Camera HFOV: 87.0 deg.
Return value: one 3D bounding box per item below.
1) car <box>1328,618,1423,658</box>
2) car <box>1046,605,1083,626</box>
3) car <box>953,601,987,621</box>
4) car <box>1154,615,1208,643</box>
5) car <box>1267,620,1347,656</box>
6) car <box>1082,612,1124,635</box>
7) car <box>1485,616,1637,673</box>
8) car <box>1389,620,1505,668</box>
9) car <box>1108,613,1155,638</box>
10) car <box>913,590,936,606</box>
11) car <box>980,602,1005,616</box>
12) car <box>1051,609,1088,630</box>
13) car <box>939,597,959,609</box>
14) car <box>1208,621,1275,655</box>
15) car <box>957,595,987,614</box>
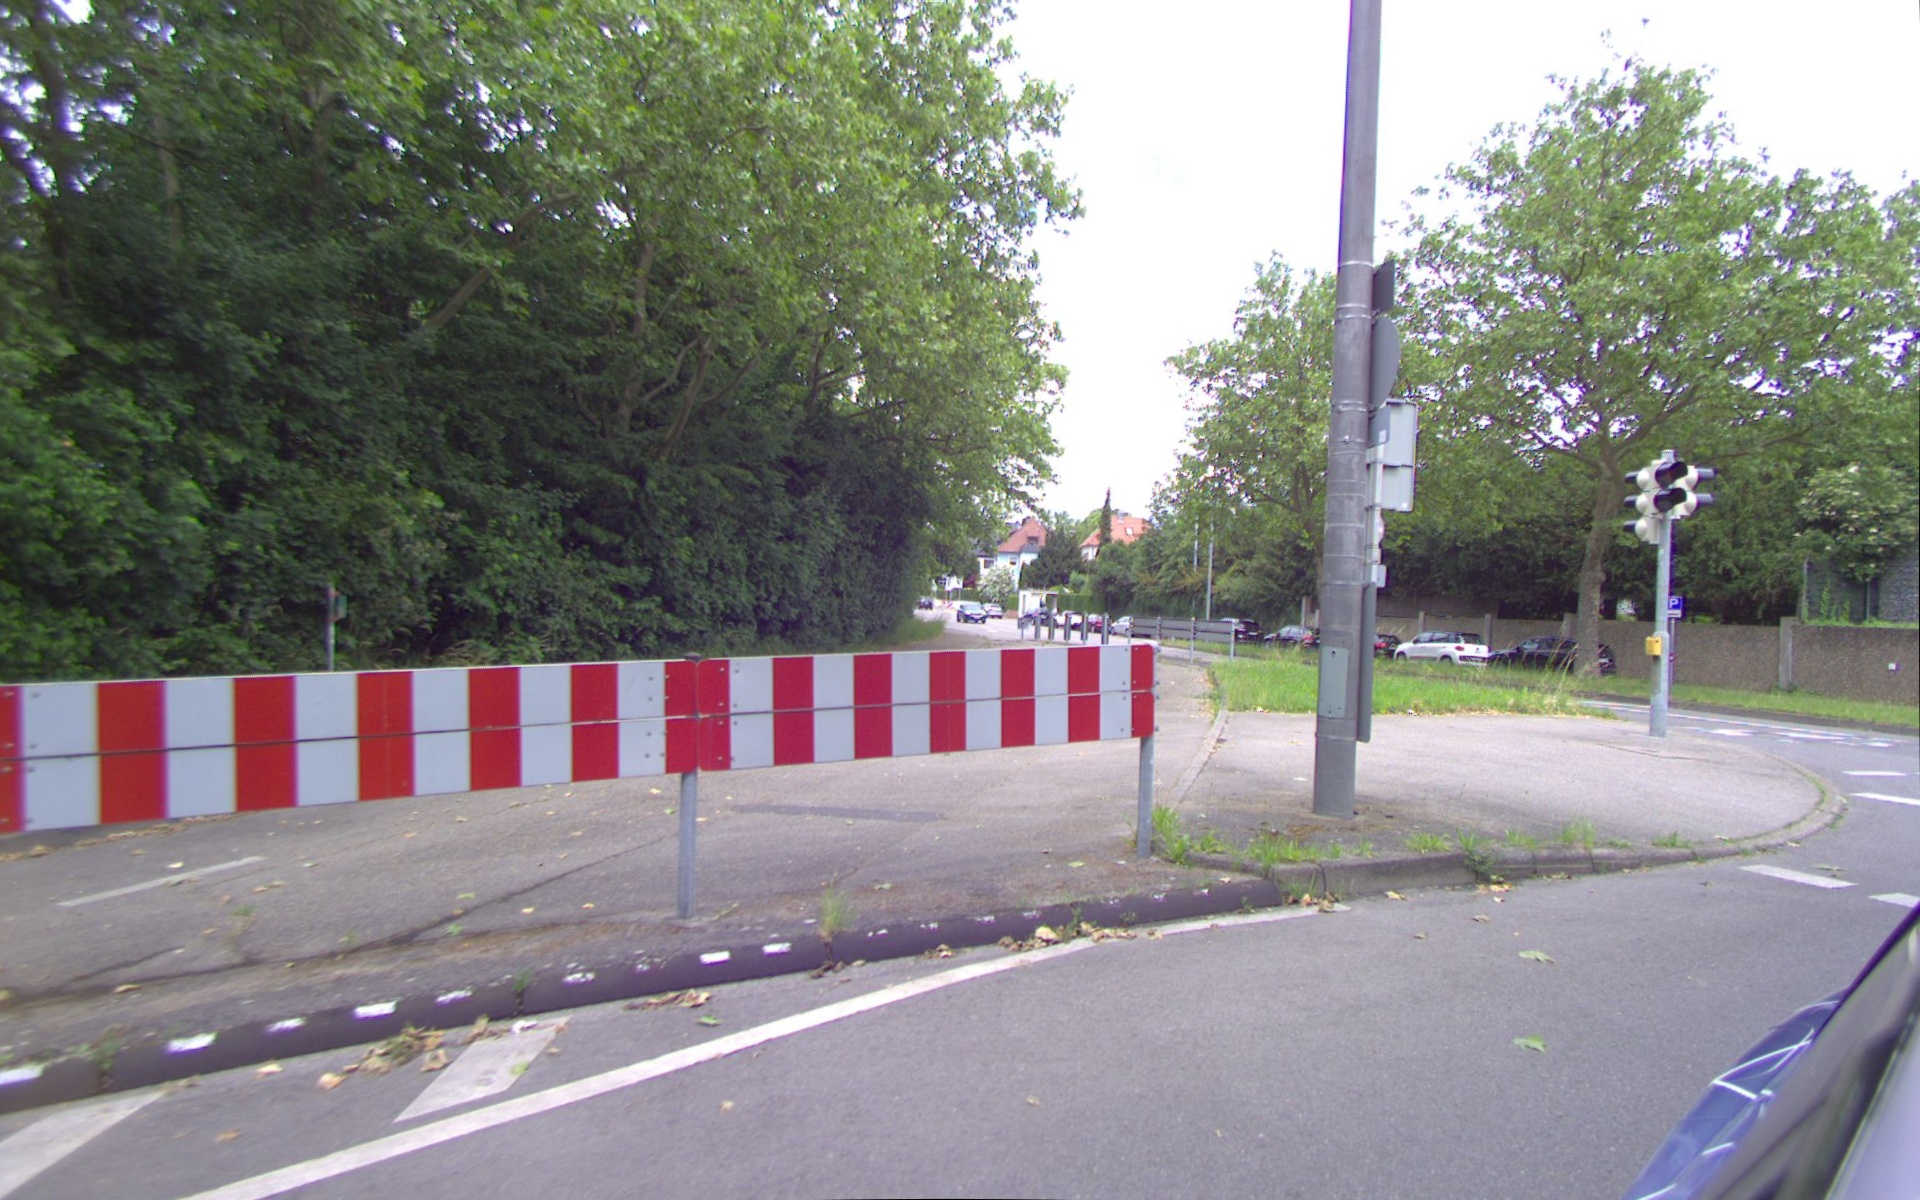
[{"bbox_3d":[18.532,1.673,45.327,1.759,1.524,4.046,5,-1,-15],"label":"car"},{"bbox_3d":[8.690,1.266,84.397,1.651,1.524,3.839,5,-1,-15],"label":"car"},{"bbox_3d":[0.832,0.875,84.377,1.760,1.447,4.155,5,-1,-14],"label":"car"},{"bbox_3d":[13.799,1.805,63.444,1.651,1.524,3.839,5,-1,-15],"label":"car"},{"bbox_3d":[17.278,1.858,50.609,1.759,1.524,4.046,5,-1,-15],"label":"car"},{"bbox_3d":[10.608,1.714,75.249,1.651,1.524,3.839,5,-1,-15],"label":"car"},{"bbox_3d":[20.969,1.509,35.515,1.759,1.636,4.471,5,-1,-17],"label":"car"},{"bbox_3d":[19.619,1.734,40.995,1.759,1.636,4.226,5,-1,-16],"label":"car"},{"bbox_3d":[11.855,1.753,70.091,1.651,1.524,3.839,5,-1,-15],"label":"car"},{"bbox_3d":[-4.194,-0.236,119.570,1.806,1.636,3.921,5,-1,-14],"label":"car"},{"bbox_3d":[3.278,0.889,103.007,1.652,1.346,3.838,2,0,-11],"label":"car"},{"bbox_3d":[8.780,1.555,81.412,1.651,1.524,3.839,5,-1,-15],"label":"car"},{"bbox_3d":[-1.262,0.355,119.699,1.652,1.346,3.838,2,0,-11],"label":"car"},{"bbox_3d":[15.619,2.085,56.336,1.759,1.624,4.046,3,-1,-14],"label":"car"},{"bbox_3d":[1.164,0.399,98.182,1.760,1.636,4.596,5,-1,-13],"label":"car"}]
